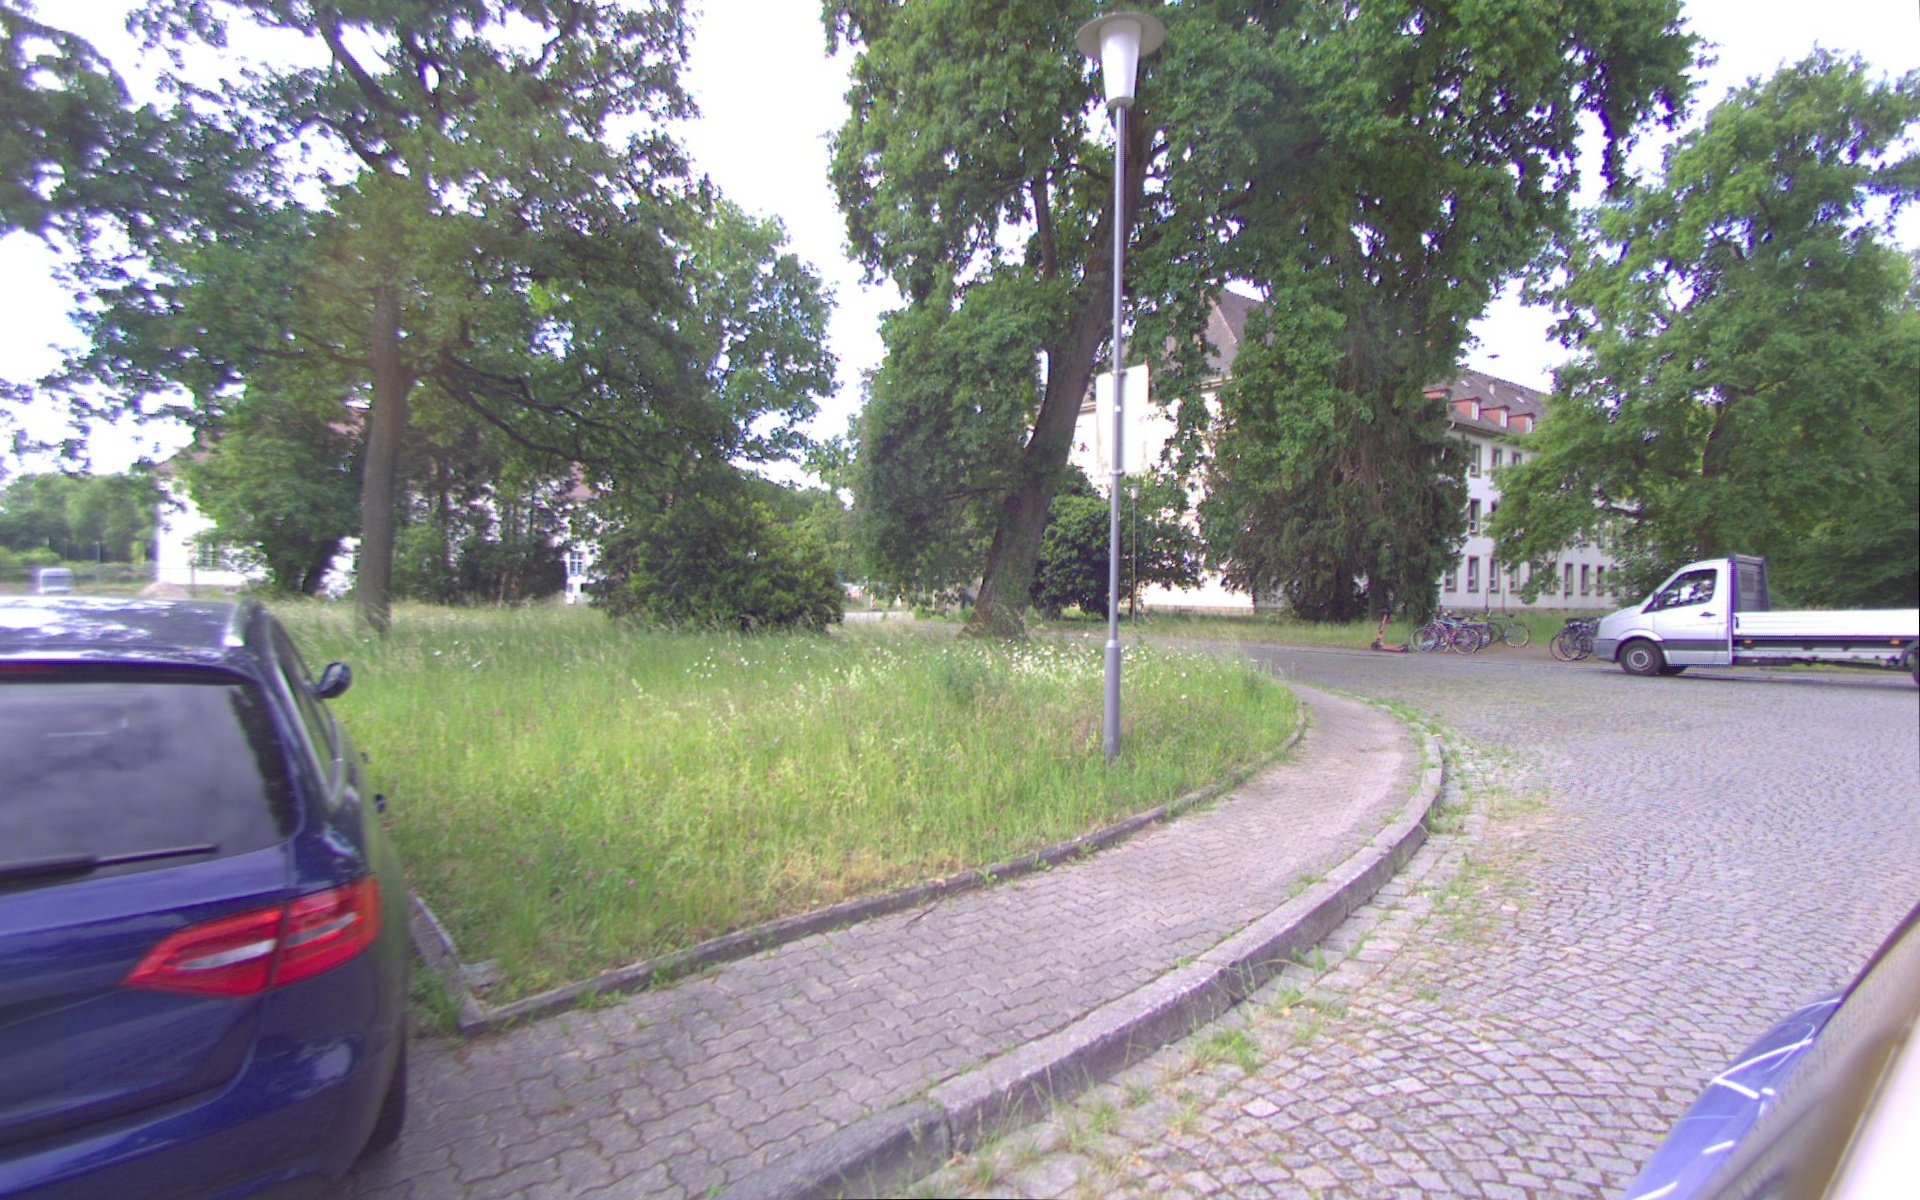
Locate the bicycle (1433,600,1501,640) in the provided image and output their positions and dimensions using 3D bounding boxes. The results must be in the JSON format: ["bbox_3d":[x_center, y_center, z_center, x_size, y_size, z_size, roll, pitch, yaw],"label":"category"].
[{"bbox_3d":[15.567,0.599,31.111,1.839,1.185,0.484,0,0,24],"label":"bicycle"}]

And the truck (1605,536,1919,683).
[{"bbox_3d":[15.836,0.152,18.031,1.956,2.396,7.084,2,0,-38],"label":"truck"}]

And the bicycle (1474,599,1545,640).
[{"bbox_3d":[16.910,0.586,31.181,1.853,1.184,0.480,3,2,43],"label":"bicycle"}]

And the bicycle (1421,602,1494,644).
[{"bbox_3d":[14.352,0.642,29.211,1.844,1.185,0.483,0,0,31],"label":"bicycle"}]

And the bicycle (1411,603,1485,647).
[{"bbox_3d":[13.567,0.695,28.169,1.841,1.185,0.483,0,0,27],"label":"bicycle"}]

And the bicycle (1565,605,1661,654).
[{"bbox_3d":[16.229,0.731,25.207,1.919,1.185,0.484,-1,-1,25],"label":"bicycle"}]

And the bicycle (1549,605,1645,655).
[{"bbox_3d":[15.640,0.736,24.882,1.919,1.185,0.484,-1,-1,25],"label":"bicycle"}]

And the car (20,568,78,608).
[{"bbox_3d":[-63.501,-0.779,70.510,5.655,2.674,2.245,-1,-1,40],"label":"car"}]

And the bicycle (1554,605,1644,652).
[{"bbox_3d":[16.553,0.732,26.268,1.921,1.185,0.483,-1,-1,28],"label":"bicycle"}]

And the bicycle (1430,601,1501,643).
[{"bbox_3d":[14.853,0.640,29.794,1.839,1.185,0.484,0,0,24],"label":"bicycle"}]

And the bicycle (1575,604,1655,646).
[{"bbox_3d":[19.112,0.721,29.546,1.928,1.185,0.530,-1,-1,37],"label":"bicycle"}]

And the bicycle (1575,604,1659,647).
[{"bbox_3d":[18.428,0.723,28.440,1.923,1.185,0.483,-1,-1,31],"label":"bicycle"}]

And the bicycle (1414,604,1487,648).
[{"bbox_3d":[13.881,0.720,28.675,1.841,1.185,0.483,0,0,27],"label":"bicycle"}]

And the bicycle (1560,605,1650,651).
[{"bbox_3d":[16.988,0.730,26.691,1.921,1.185,0.483,-1,-1,28],"label":"bicycle"}]

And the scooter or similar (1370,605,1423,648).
[{"bbox_3d":[12.304,0.739,28.559,0.406,1.185,1.307,0,-1,-39],"label":"scooter or similar"}]

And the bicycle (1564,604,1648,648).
[{"bbox_3d":[17.914,0.727,28.121,1.923,1.185,0.483,-1,-1,31],"label":"bicycle"}]

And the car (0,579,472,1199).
[{"bbox_3d":[-2.954,0.696,3.186,1.890,1.457,4.372,0,1,-35],"label":"car"}]

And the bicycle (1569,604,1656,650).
[{"bbox_3d":[17.528,0.727,27.244,1.923,1.185,0.483,-1,-1,31],"label":"bicycle"}]

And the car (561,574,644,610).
[{"bbox_3d":[-23.913,-0.515,67.793,4.849,2.333,1.922,0,0,-38],"label":"car"}]
